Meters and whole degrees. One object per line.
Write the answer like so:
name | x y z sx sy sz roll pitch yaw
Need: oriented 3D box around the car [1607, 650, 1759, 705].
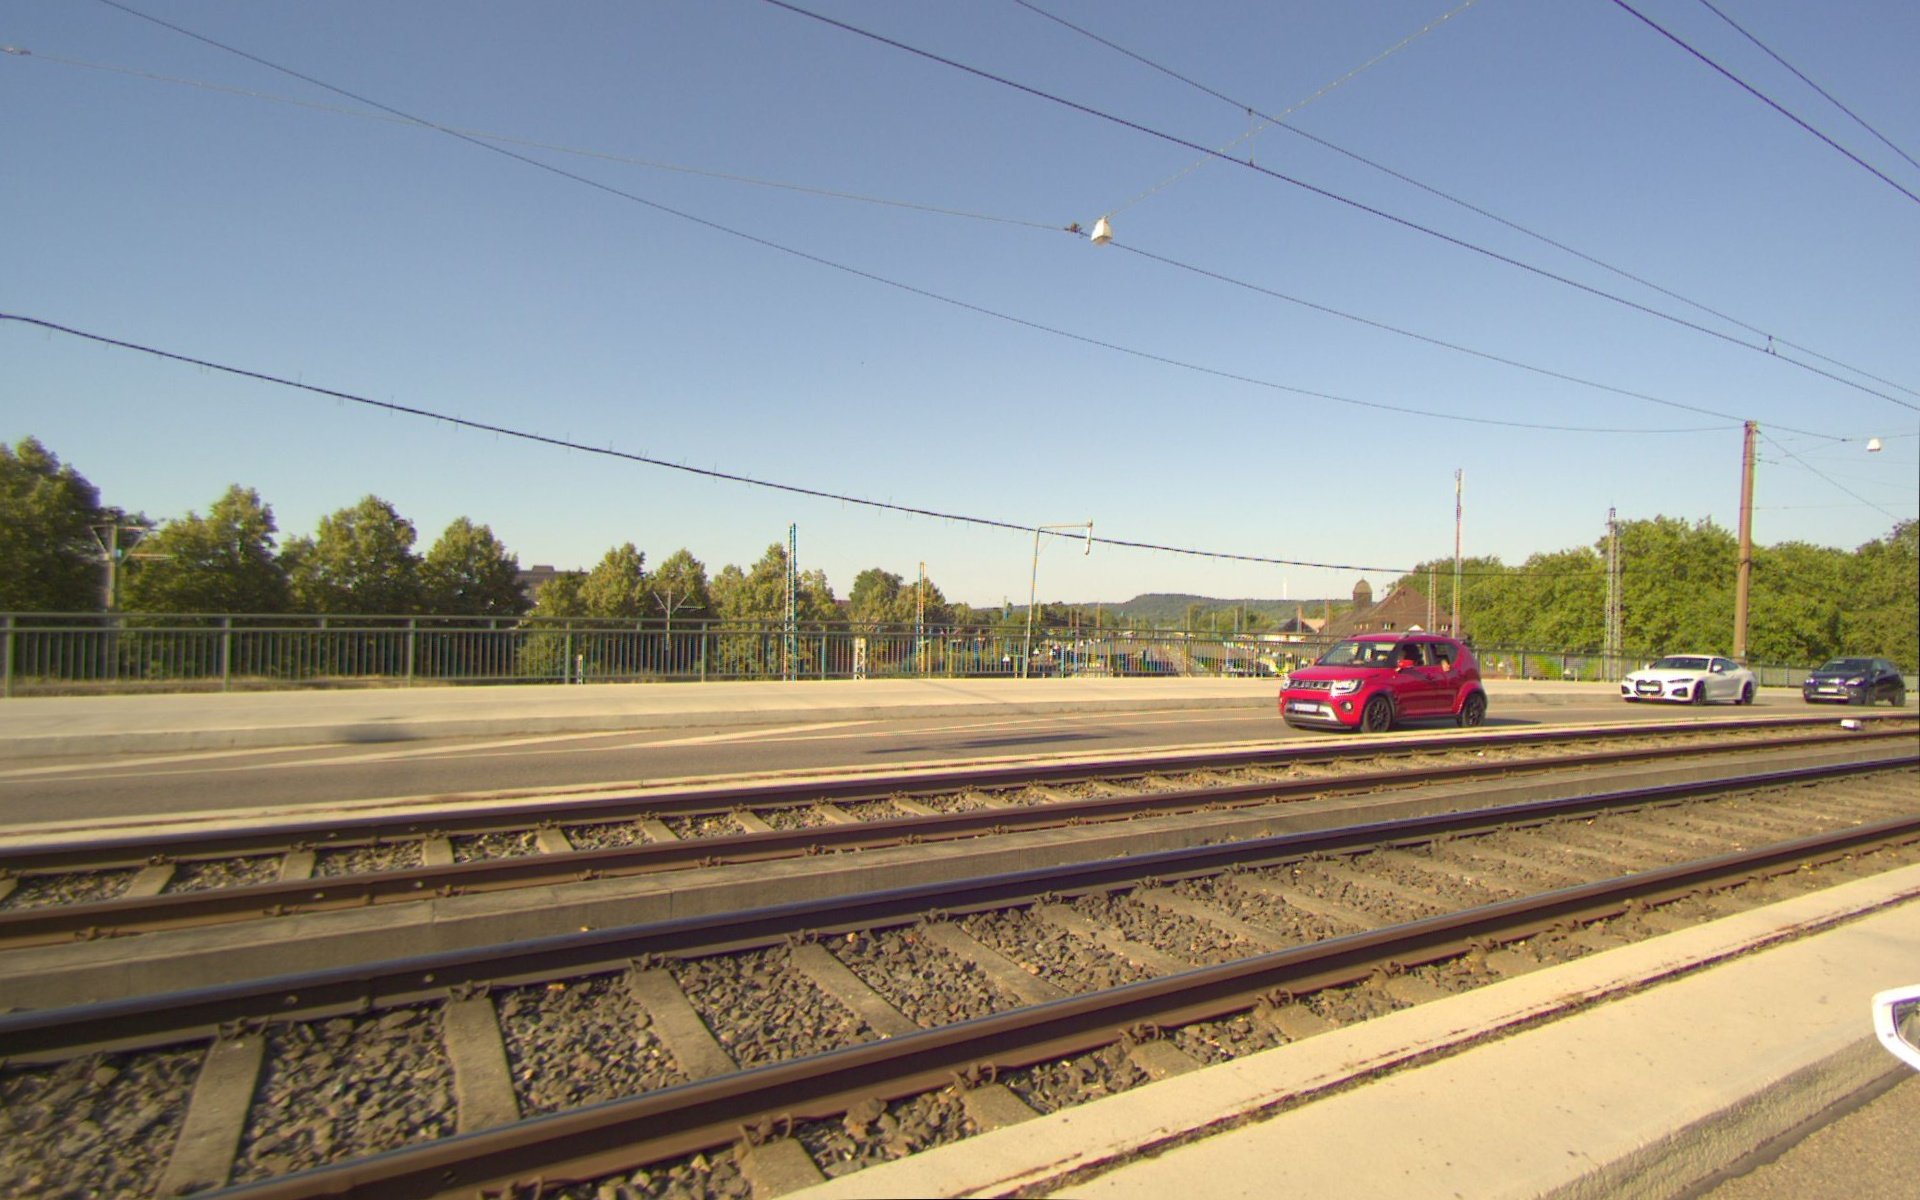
car | 20.444 2.131 28.351 4.863 1.374 1.676 2 -1 -31

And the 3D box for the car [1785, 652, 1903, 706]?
car | 30.280 2.661 34.378 4.395 1.672 1.771 2 -1 -31

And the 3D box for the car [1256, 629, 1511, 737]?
car | 6.873 1.254 16.233 3.953 1.539 1.800 1 -2 -30
